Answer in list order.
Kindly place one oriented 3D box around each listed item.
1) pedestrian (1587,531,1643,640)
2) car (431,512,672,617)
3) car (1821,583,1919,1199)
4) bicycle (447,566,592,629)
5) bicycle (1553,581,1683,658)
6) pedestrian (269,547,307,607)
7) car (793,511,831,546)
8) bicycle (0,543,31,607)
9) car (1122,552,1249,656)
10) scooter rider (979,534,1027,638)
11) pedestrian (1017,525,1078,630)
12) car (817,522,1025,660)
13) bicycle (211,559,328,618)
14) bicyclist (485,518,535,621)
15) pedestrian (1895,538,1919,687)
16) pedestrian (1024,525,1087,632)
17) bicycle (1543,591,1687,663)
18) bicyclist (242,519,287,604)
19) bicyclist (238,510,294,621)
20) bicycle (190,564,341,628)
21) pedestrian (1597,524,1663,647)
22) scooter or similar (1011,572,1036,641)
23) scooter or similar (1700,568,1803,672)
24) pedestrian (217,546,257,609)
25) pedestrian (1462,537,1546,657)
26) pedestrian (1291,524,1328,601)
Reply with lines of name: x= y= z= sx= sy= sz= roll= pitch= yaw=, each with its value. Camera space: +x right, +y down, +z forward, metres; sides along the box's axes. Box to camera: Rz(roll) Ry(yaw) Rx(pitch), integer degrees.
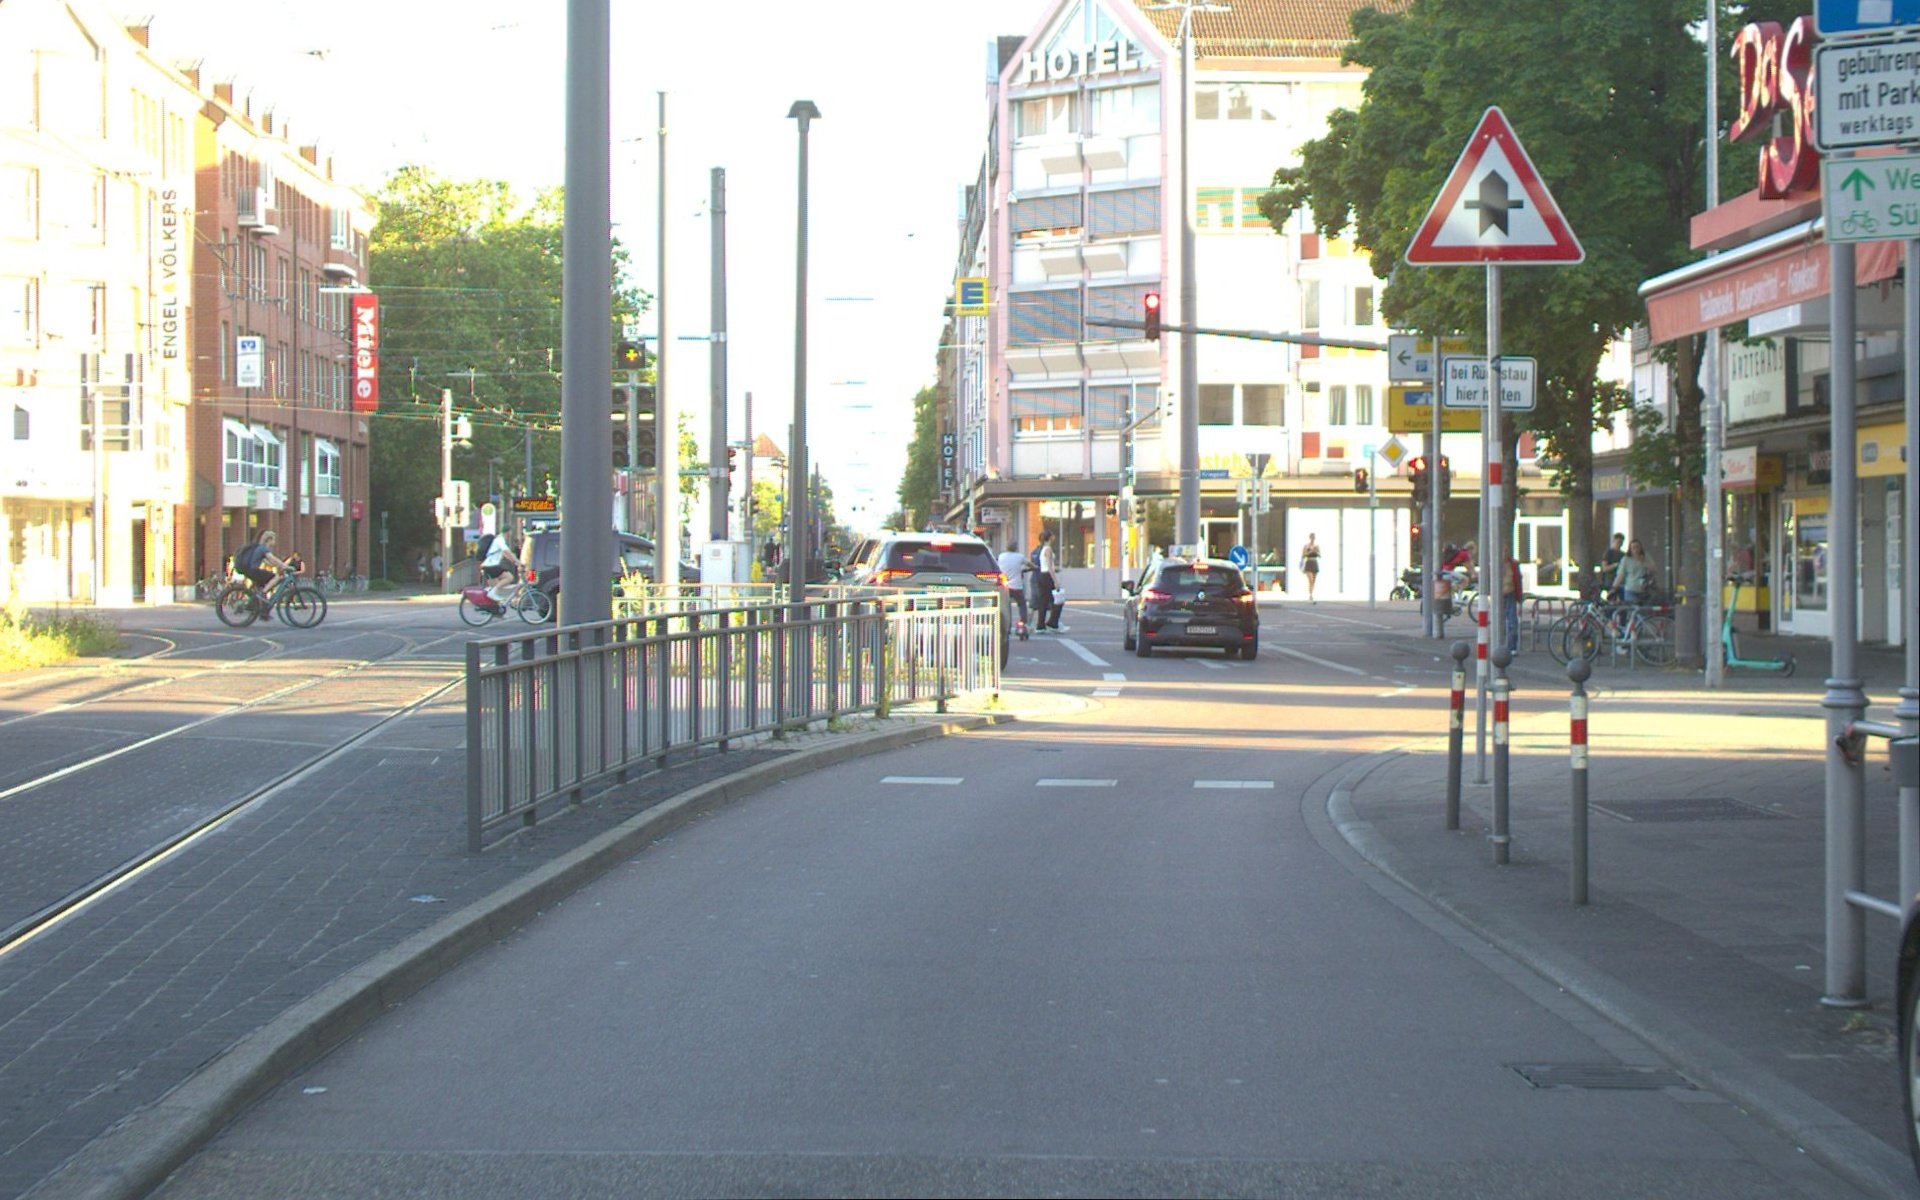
pedestrian: x=10.845 y=-0.240 z=56.934 sx=0.746 sy=1.772 sz=0.800 roll=2 pitch=0 yaw=2
car: x=-8.117 y=-0.712 z=68.133 sx=4.558 sy=2.030 sz=2.001 roll=0 pitch=1 yaw=-13
car: x=3.036 y=0.707 z=5.895 sx=1.790 sy=1.408 sz=4.688 roll=2 pitch=0 yaw=-2
bicycle: x=-8.183 y=-0.044 z=63.857 sx=2.639 sy=1.096 sz=0.435 roll=2 pitch=0 yaw=-7
bicycle: x=8.860 y=0.259 z=46.311 sx=1.658 sy=0.971 sz=0.386 roll=2 pitch=0 yaw=6
pedestrian: x=-22.922 y=-0.789 z=117.290 sx=1.093 sy=2.007 sz=1.163 roll=2 pitch=0 yaw=-3
car: x=-8.469 y=-4.060 z=196.681 sx=1.993 sy=1.894 sz=4.000 roll=2 pitch=0 yaw=0
bicycle: x=-17.527 y=-0.459 z=59.704 sx=2.639 sy=1.096 sz=0.435 roll=2 pitch=0 yaw=-20
car: x=3.310 y=0.030 z=50.099 sx=1.764 sy=1.435 sz=4.000 roll=0 pitch=1 yaw=5
scooter rider: x=0.691 y=-0.227 z=55.098 sx=0.662 sy=1.641 sz=0.661 roll=2 pitch=0 yaw=7
pedestrian: x=1.547 y=-0.401 z=60.722 sx=0.994 sy=1.824 sz=0.729 roll=2 pitch=0 yaw=-1
car: x=-0.543 y=-0.129 z=42.751 sx=1.834 sy=1.630 sz=4.092 roll=0 pitch=1 yaw=-12
bicycle: x=-12.445 y=-0.212 z=61.995 sx=2.036 sy=1.024 sz=0.417 roll=1 pitch=0 yaw=-6
bicyclist: x=-8.352 y=-0.569 z=63.803 sx=0.860 sy=1.871 sz=0.647 roll=2 pitch=0 yaw=-8
pedestrian: x=11.110 y=0.148 z=38.961 sx=0.746 sy=1.678 sz=0.894 roll=2 pitch=0 yaw=0
pedestrian: x=1.666 y=-0.372 z=59.926 sx=0.994 sy=1.824 sz=0.729 roll=2 pitch=0 yaw=-3
bicycle: x=8.637 y=0.351 z=45.358 sx=1.818 sy=0.888 sz=0.415 roll=2 pitch=0 yaw=6
bicyclist: x=-12.538 y=-0.699 z=61.959 sx=0.703 sy=1.506 sz=0.550 roll=-2 pitch=1 yaw=-16
bicyclist: x=-12.721 y=-0.629 z=63.038 sx=0.860 sy=2.007 sz=0.647 roll=2 pitch=0 yaw=-20
bicycle: x=-12.725 y=-0.065 z=63.039 sx=2.639 sy=1.096 sz=0.435 roll=2 pitch=0 yaw=-20
pedestrian: x=9.885 y=-0.216 z=50.744 sx=0.746 sy=1.772 sz=0.973 roll=2 pitch=0 yaw=0
scooter or similar: x=1.025 y=0.097 z=55.261 sx=0.279 sy=1.087 sz=1.257 roll=2 pitch=0 yaw=5
scooter or similar: x=9.361 y=0.242 z=40.685 sx=1.220 sy=1.213 sz=0.294 roll=-1 pitch=-2 yaw=45
pedestrian: x=-23.656 y=-0.741 z=112.520 sx=1.093 sy=2.007 sz=0.909 roll=2 pitch=0 yaw=-3
pedestrian: x=7.774 y=-0.045 z=49.148 sx=0.823 sy=1.679 sz=1.049 roll=2 pitch=0 yaw=-11
pedestrian: x=8.164 y=-0.884 z=80.339 sx=0.746 sy=1.772 sz=0.800 roll=2 pitch=0 yaw=1
